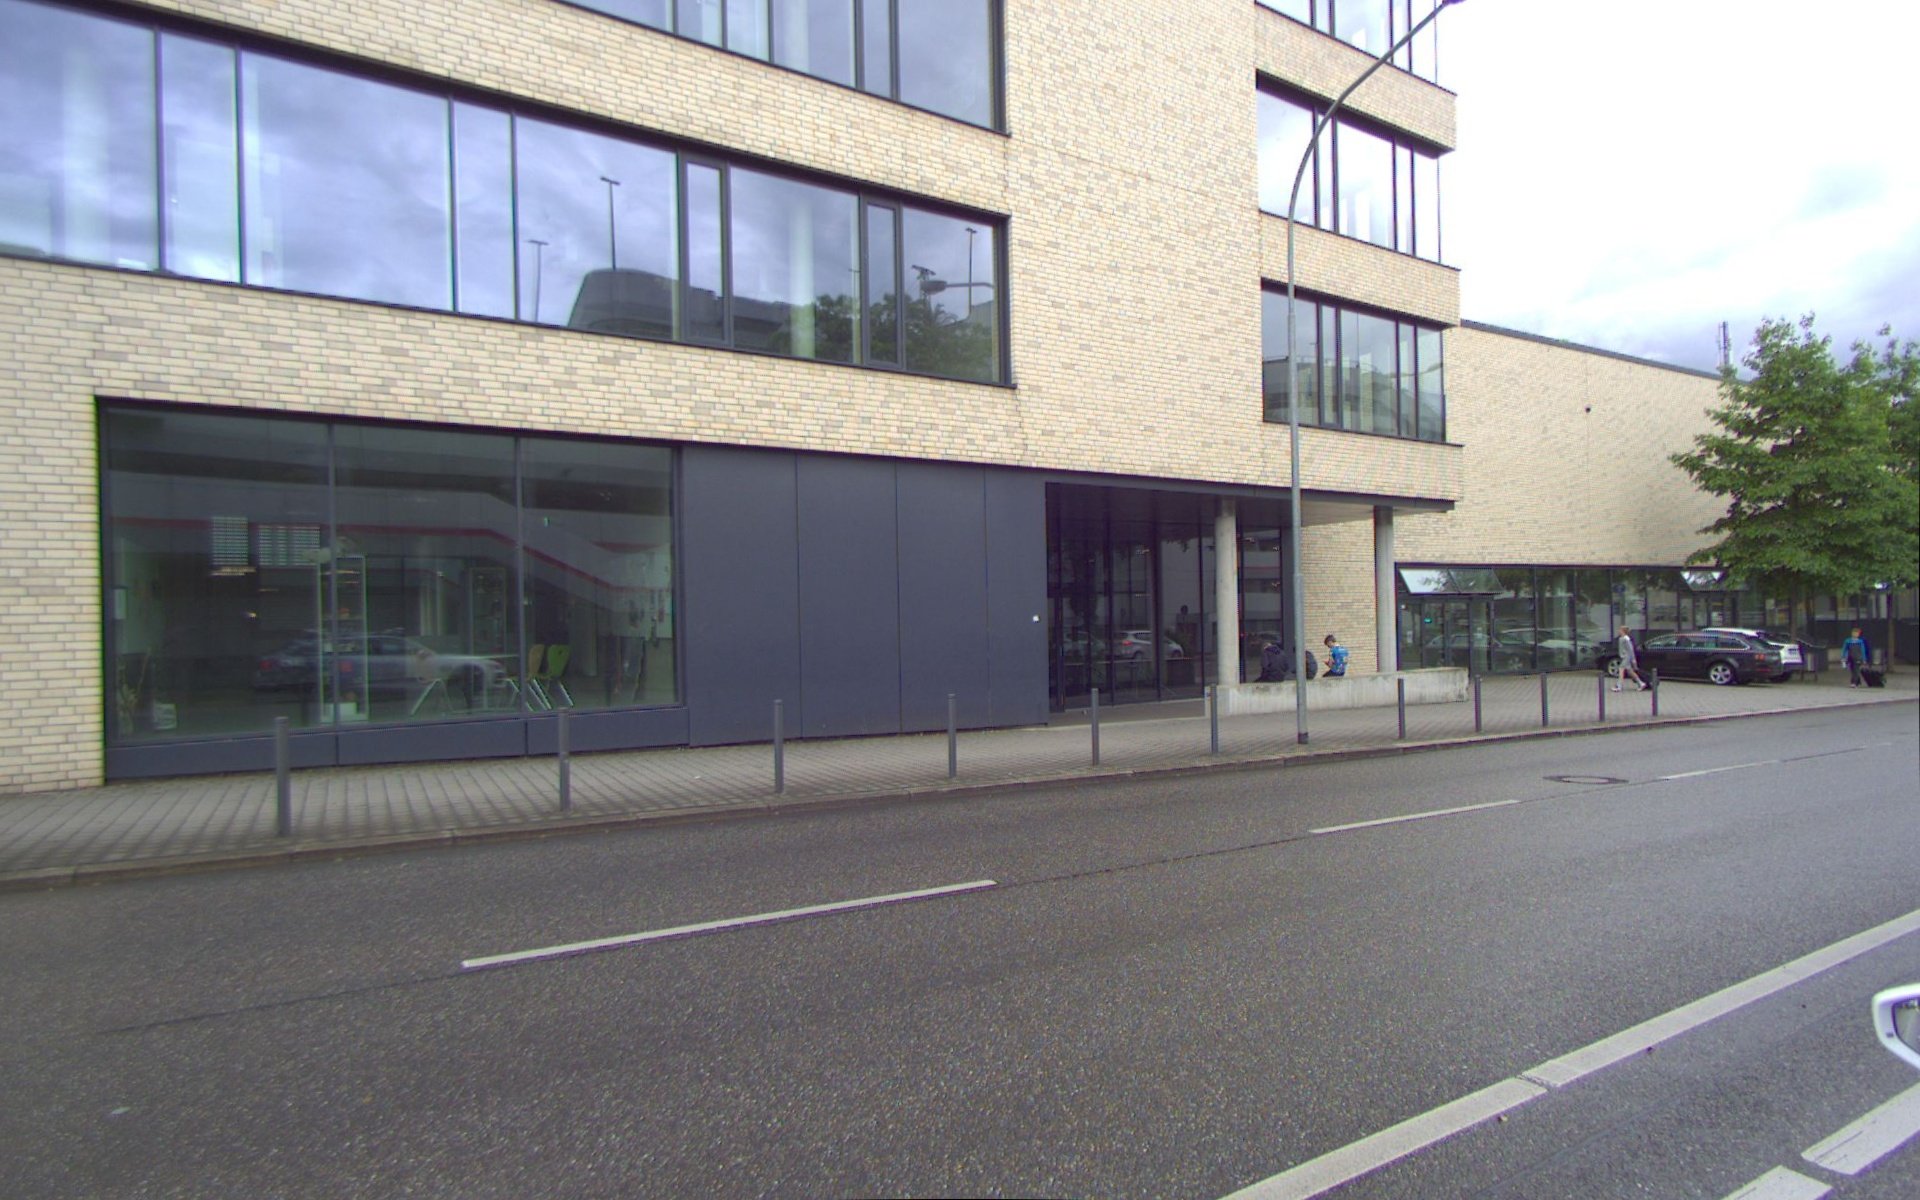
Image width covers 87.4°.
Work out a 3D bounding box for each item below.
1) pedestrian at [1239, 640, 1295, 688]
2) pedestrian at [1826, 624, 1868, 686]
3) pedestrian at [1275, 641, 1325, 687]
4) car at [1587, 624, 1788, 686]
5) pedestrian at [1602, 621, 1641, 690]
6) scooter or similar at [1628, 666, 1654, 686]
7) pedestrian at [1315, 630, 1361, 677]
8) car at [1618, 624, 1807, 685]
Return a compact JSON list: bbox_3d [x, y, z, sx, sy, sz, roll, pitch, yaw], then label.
[{"bbox_3d":[5.798,1.204,18.985,0.752,0.796,0.595,9,-4,-30],"label":"pedestrian"},{"bbox_3d":[25.836,1.600,29.260,0.745,1.748,0.685,0,1,-31],"label":"pedestrian"},{"bbox_3d":[6.590,1.237,19.479,0.719,0.856,0.583,2,-1,-30],"label":"pedestrian"},{"bbox_3d":[21.418,1.549,29.726,1.981,1.608,4.437,1,-1,-36],"label":"car"},{"bbox_3d":[16.830,1.392,25.565,0.473,1.720,0.673,0,1,-29],"label":"pedestrian"},{"bbox_3d":[17.407,1.944,25.688,0.608,0.507,0.279,2,0,-27],"label":"scooter or similar"},{"bbox_3d":[7.550,1.065,20.058,0.519,0.897,0.676,2,0,-36],"label":"pedestrian"},{"bbox_3d":[23.523,1.638,31.558,1.980,1.595,4.388,-1,1,-35],"label":"car"}]
